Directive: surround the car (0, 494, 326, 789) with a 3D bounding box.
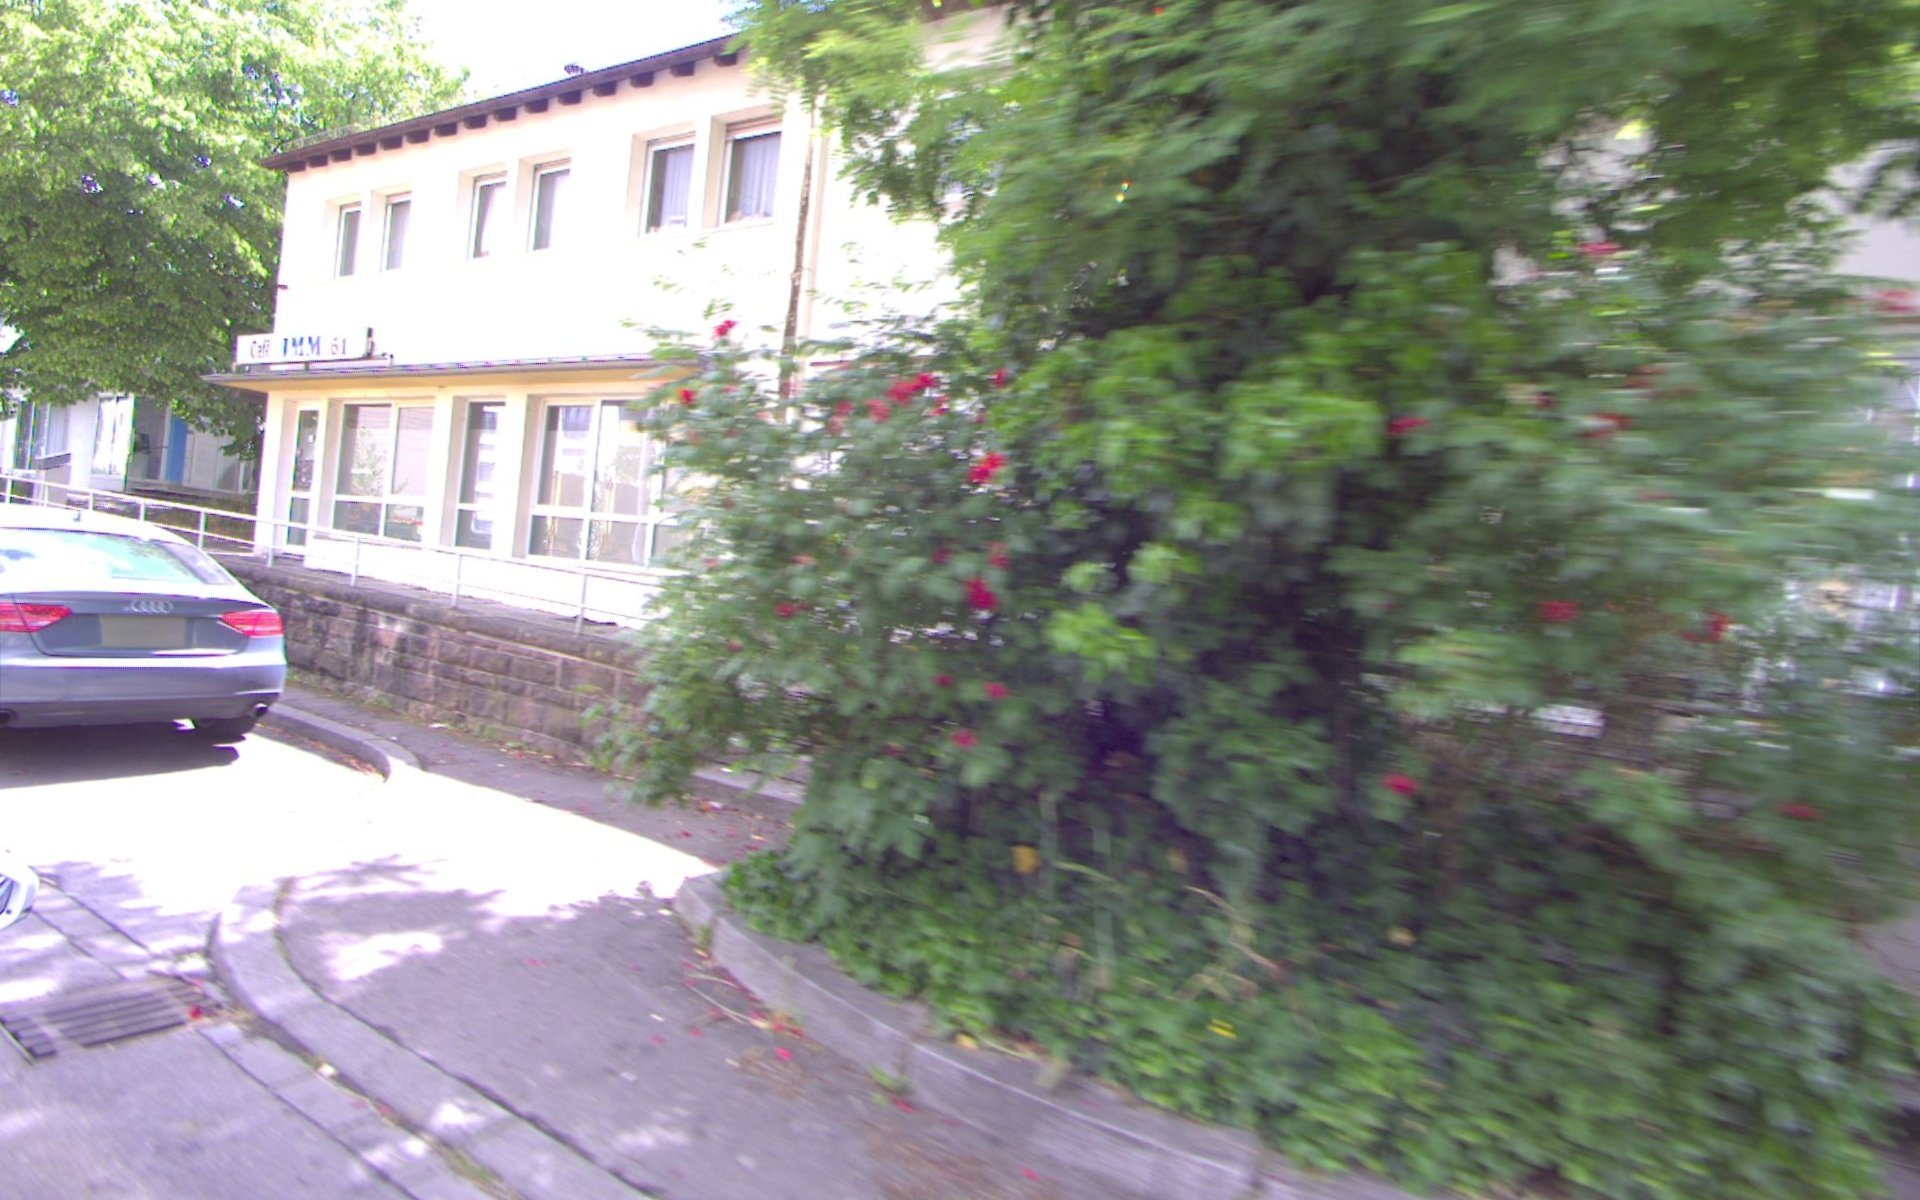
[{"bbox_3d":[-6.354,0.038,6.644,4.418,1.460,1.757,7,0,30],"label":"car"}]
